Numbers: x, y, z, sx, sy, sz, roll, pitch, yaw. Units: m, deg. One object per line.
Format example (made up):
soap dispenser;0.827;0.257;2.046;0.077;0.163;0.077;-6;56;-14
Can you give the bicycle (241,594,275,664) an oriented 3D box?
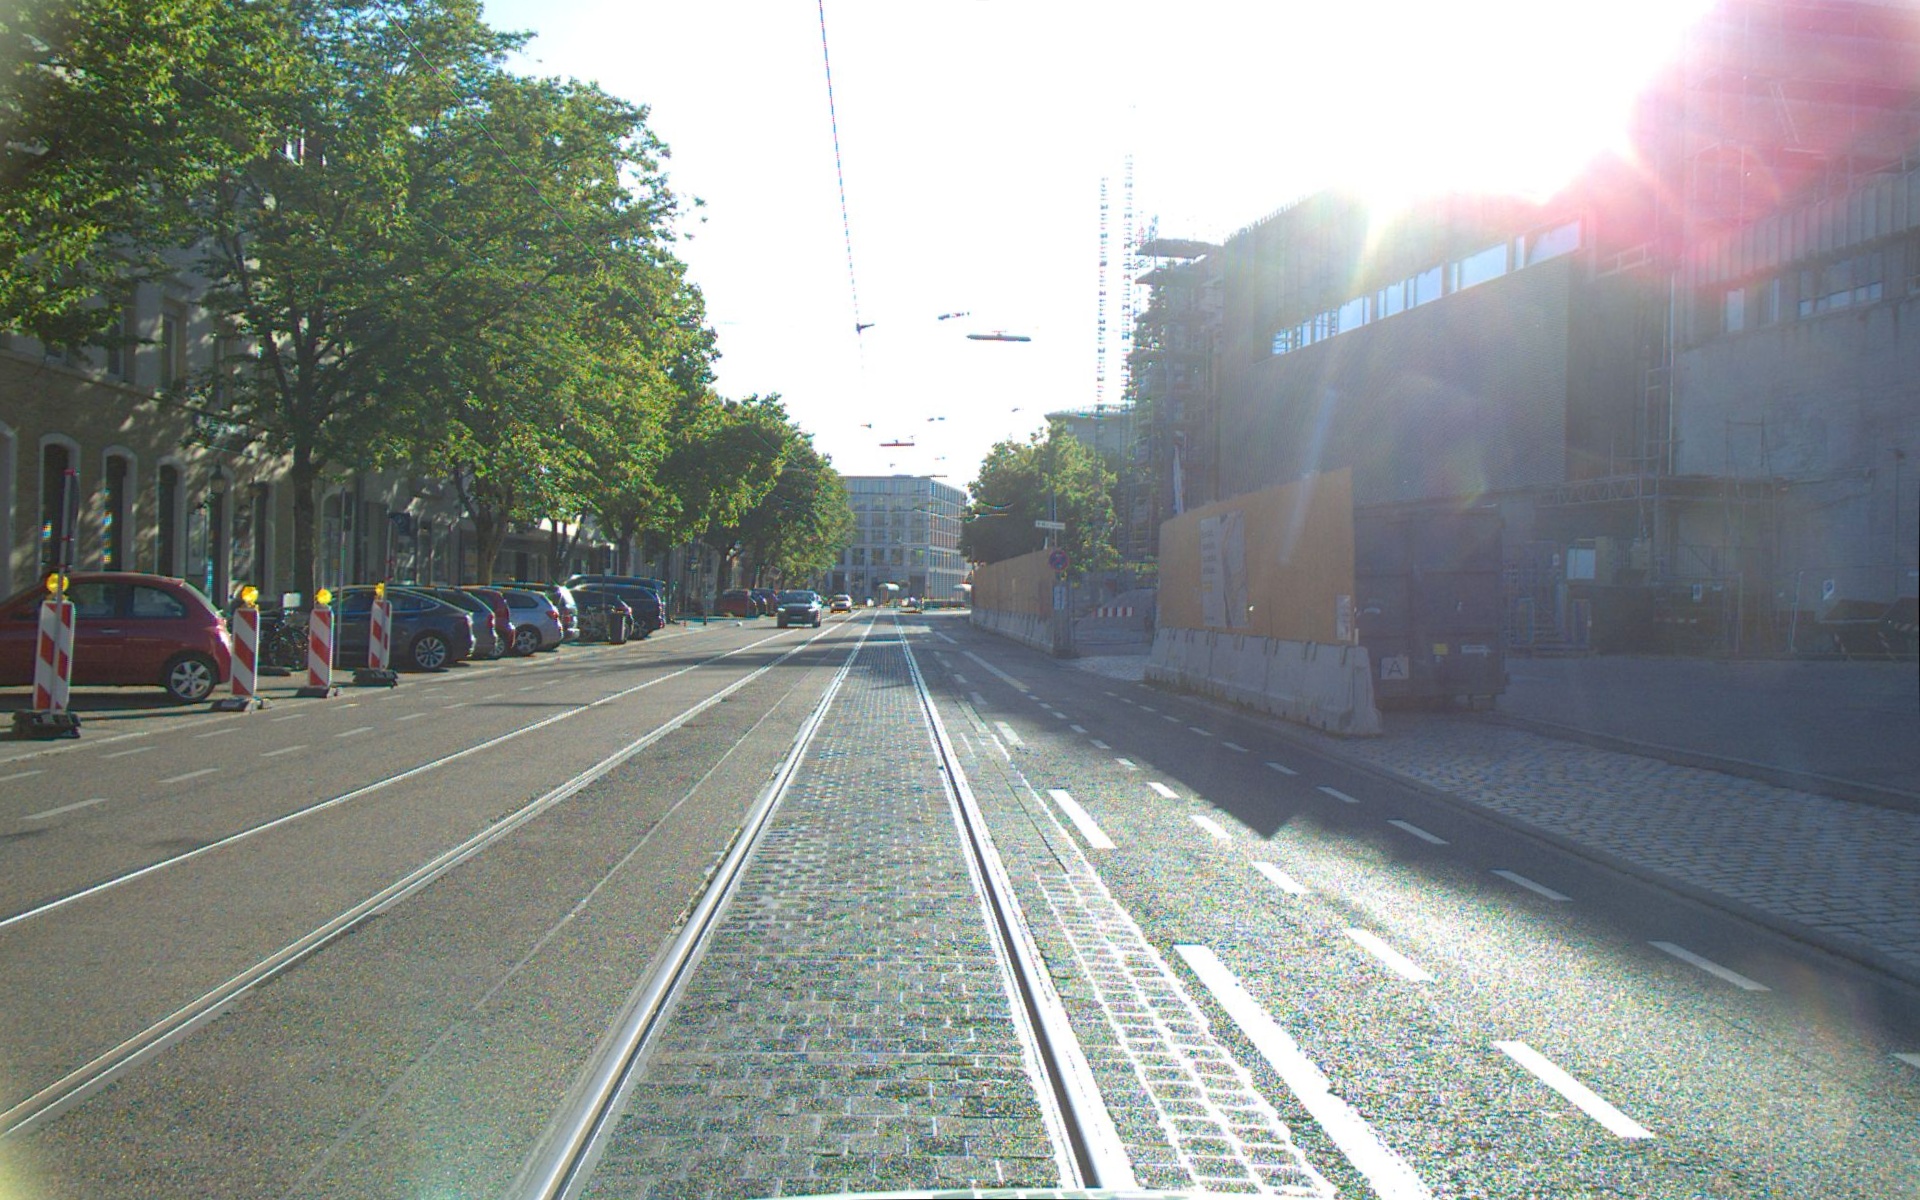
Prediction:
bicycle;-11.496;0.462;27.088;0.327;1.115;1.587;0;0;-17

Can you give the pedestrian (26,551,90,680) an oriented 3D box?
pedestrian;-14.443;0.245;26.500;0.716;2.049;0.556;0;0;-1

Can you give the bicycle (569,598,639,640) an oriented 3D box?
bicycle;-10.471;0.550;48.641;1.937;1.164;0.489;2;0;-21

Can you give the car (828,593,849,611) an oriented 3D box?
car;-10.322;0.183;140.446;1.676;1.461;4.167;0;0;-5

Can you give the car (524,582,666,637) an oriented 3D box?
car;-11.638;0.279;52.711;4.179;1.714;1.798;0;1;-24

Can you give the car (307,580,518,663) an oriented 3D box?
car;-10.794;0.431;32.657;3.635;1.496;1.735;2;-1;-32

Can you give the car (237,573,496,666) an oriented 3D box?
car;-10.775;0.356;30.079;4.144;1.517;1.925;2;0;-30

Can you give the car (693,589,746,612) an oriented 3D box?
car;-14.225;0.009;97.769;2.903;1.355;1.203;-1;0;-31

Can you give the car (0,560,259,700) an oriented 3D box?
car;-10.662;0.365;20.355;3.573;1.580;1.653;2;1;-29

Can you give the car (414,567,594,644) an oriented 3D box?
car;-11.488;0.133;41.863;4.024;1.707;1.839;3;0;-5

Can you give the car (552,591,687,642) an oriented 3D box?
car;-10.385;0.472;50.411;3.800;1.502;1.832;0;1;-21

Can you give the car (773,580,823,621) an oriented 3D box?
car;-7.316;0.007;75.017;1.889;1.657;4.248;-3;2;-2

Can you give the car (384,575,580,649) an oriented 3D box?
car;-11.100;0.289;38.418;4.059;1.539;1.823;2;0;-29

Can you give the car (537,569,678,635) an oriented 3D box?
car;-11.808;0.064;55.404;4.297;2.021;1.935;2;0;-25

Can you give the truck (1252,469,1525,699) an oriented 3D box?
truck;6.182;-0.234;24.746;2.469;2.959;5.506;-2;0;-1

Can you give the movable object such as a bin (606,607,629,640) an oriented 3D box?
movable object such as a bin;-9.939;0.687;48.015;0.566;0.929;0.572;2;1;-18

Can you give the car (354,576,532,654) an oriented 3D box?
car;-11.092;0.334;35.516;3.328;1.519;1.597;2;0;-31
